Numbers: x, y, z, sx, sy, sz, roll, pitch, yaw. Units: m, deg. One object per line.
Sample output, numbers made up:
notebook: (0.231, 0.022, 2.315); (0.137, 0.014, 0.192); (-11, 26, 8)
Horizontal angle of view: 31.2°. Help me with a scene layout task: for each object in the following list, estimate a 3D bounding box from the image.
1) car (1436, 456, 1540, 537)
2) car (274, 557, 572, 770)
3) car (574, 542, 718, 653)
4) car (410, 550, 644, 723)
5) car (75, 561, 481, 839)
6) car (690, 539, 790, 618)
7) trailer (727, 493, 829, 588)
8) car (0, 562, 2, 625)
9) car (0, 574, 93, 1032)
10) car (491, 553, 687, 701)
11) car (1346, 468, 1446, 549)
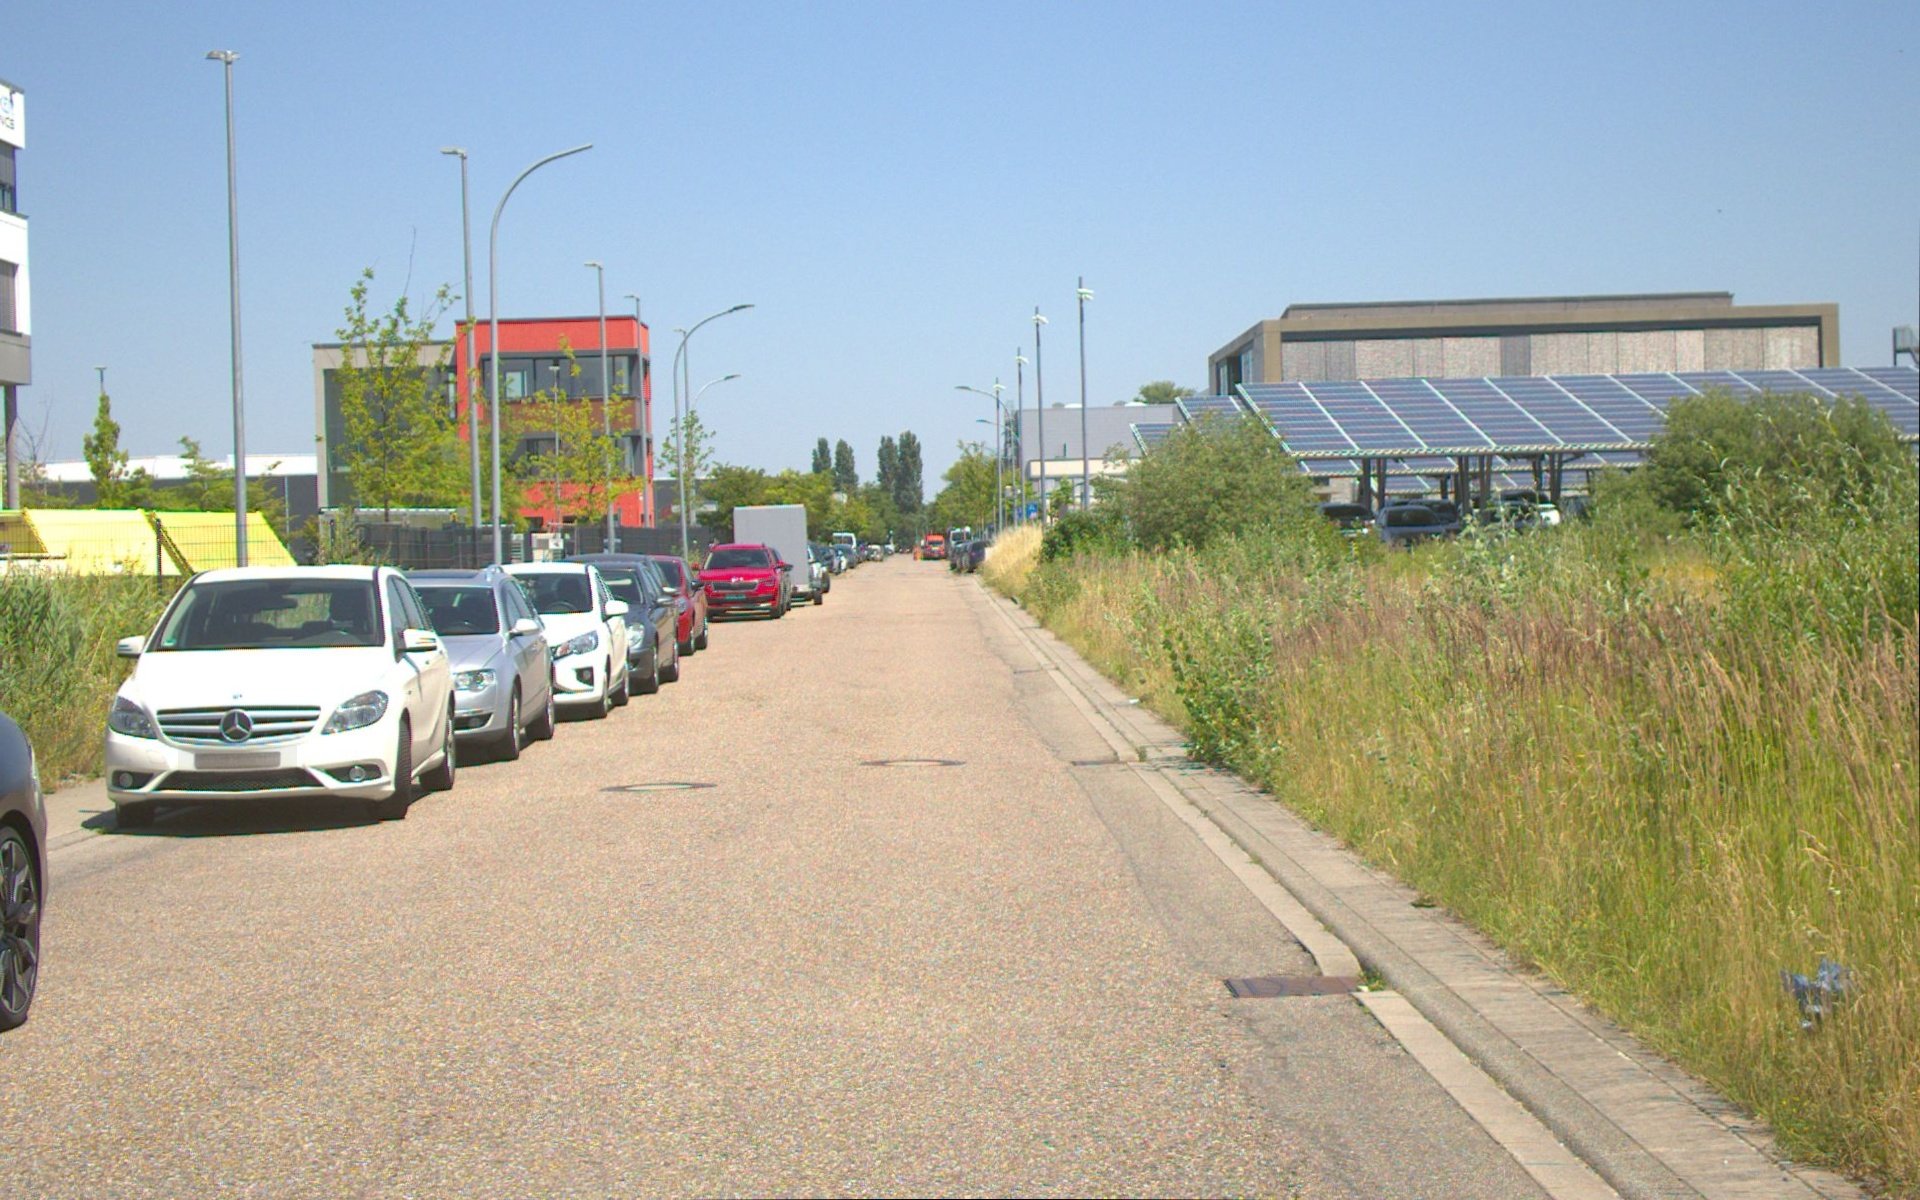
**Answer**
car: (13.787, -2.687, 89.910); (1.993, 2.007, 4.000); (-2, 1, -1)
car: (-4.281, 0.458, 27.950); (1.787, 1.515, 3.983); (-2, 1, -1)
car: (-4.652, -0.067, 51.417); (1.787, 1.515, 3.983); (-2, 1, -1)
car: (-4.199, 0.312, 33.871); (1.787, 1.515, 3.983); (-2, 1, -1)
car: (-4.239, 0.561, 21.966); (1.787, 1.515, 3.983); (-2, 1, -1)
car: (-4.490, -0.467, 70.701); (1.787, 1.515, 3.983); (-2, 1, -1)
trailer: (-4.321, -1.421, 82.216); (2.201, 2.130, 4.286); (-2, 1, -1)
car: (-21.873, -0.369, 69.256); (4.528, 1.936, 2.031); (-2, 1, 0)
car: (-4.029, 0.727, 9.949); (1.768, 1.480, 5.015); (-2, 1, -1)
car: (-4.166, 0.265, 39.120); (1.787, 1.515, 3.983); (-2, 1, -1)
car: (11.332, -2.370, 89.641); (1.993, 2.007, 4.000); (-2, 1, -1)
